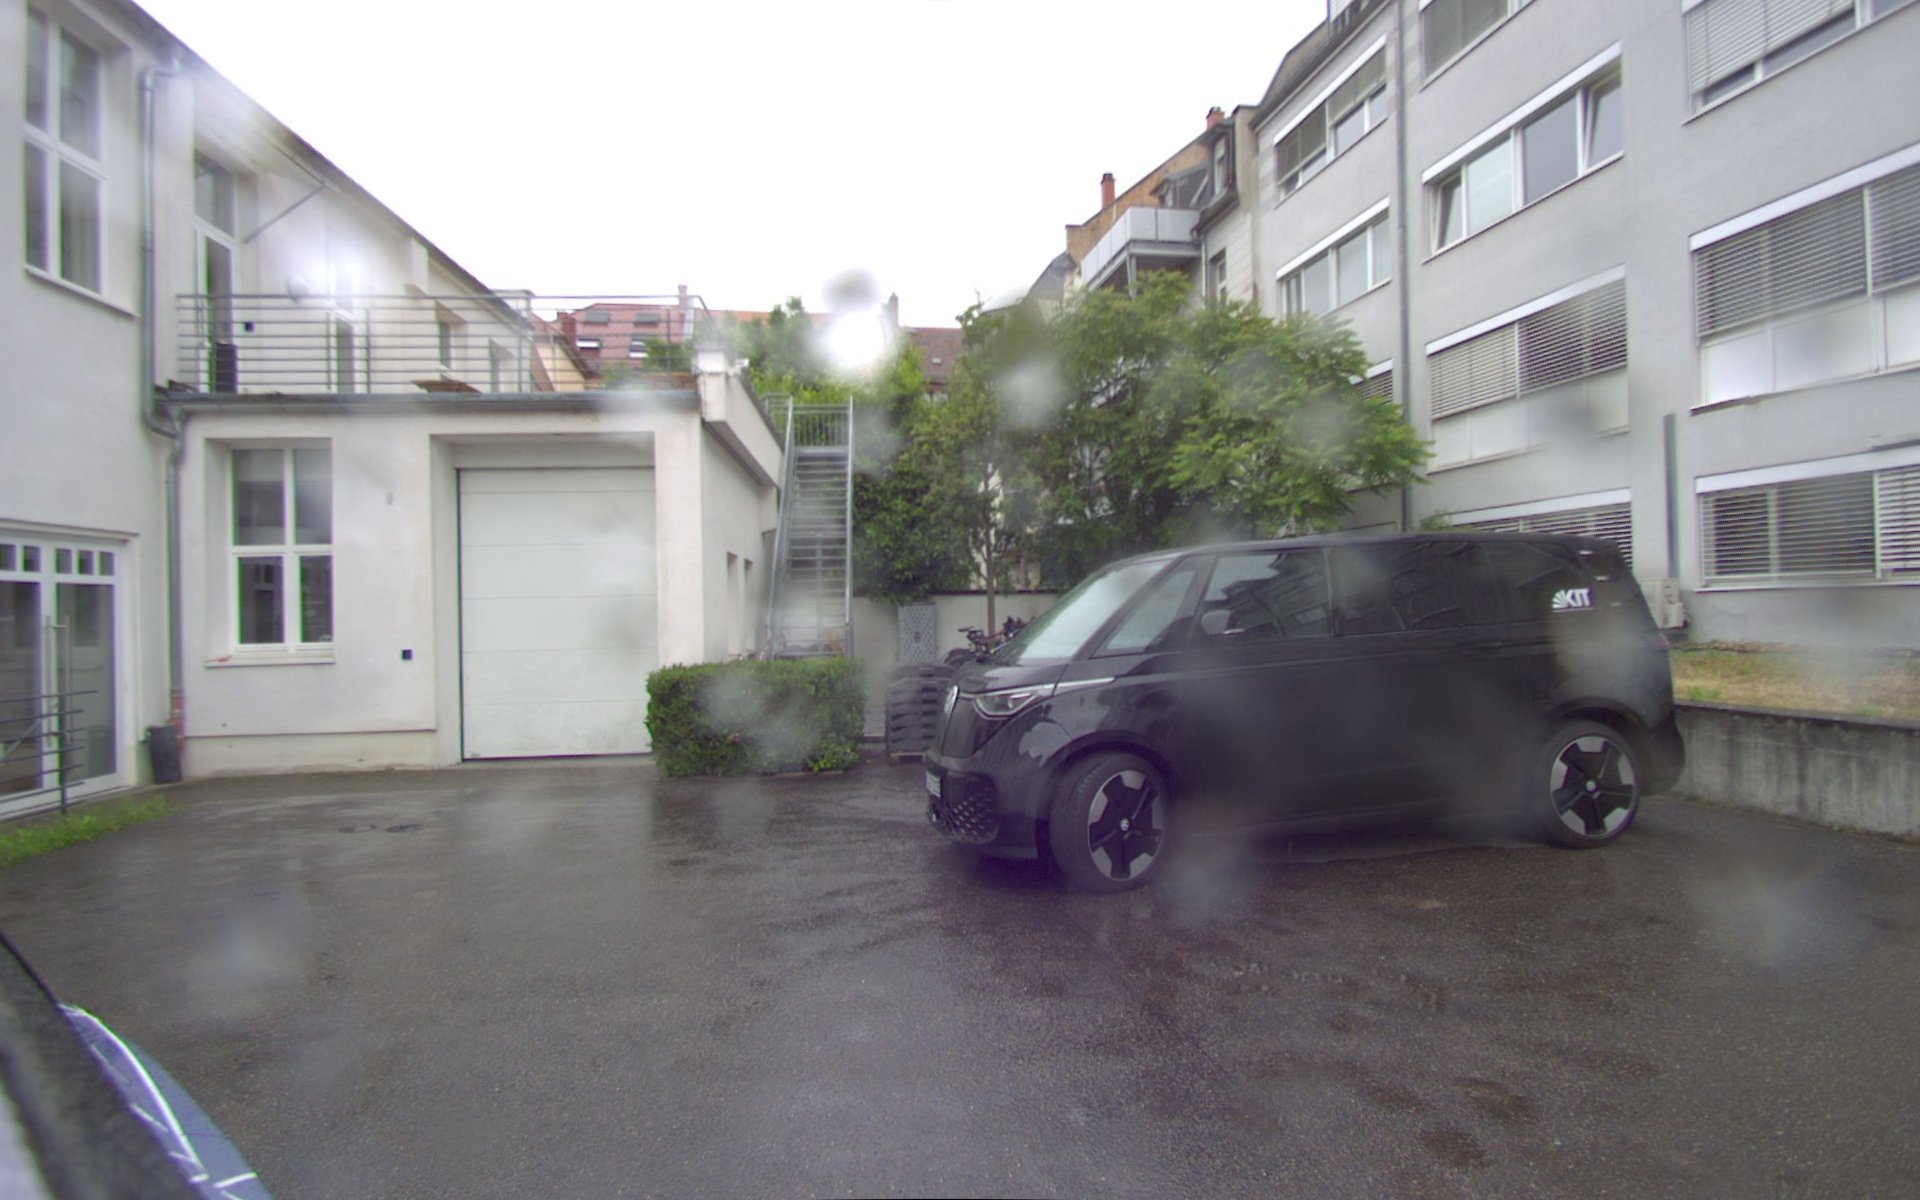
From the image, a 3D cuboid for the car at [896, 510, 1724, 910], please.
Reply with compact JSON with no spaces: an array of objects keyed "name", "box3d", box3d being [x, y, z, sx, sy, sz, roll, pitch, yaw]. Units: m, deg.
[{"name":"car","box3d":[1.986,0.523,6.401,4.447,1.912,2.051,-2,-2,-12]}]
